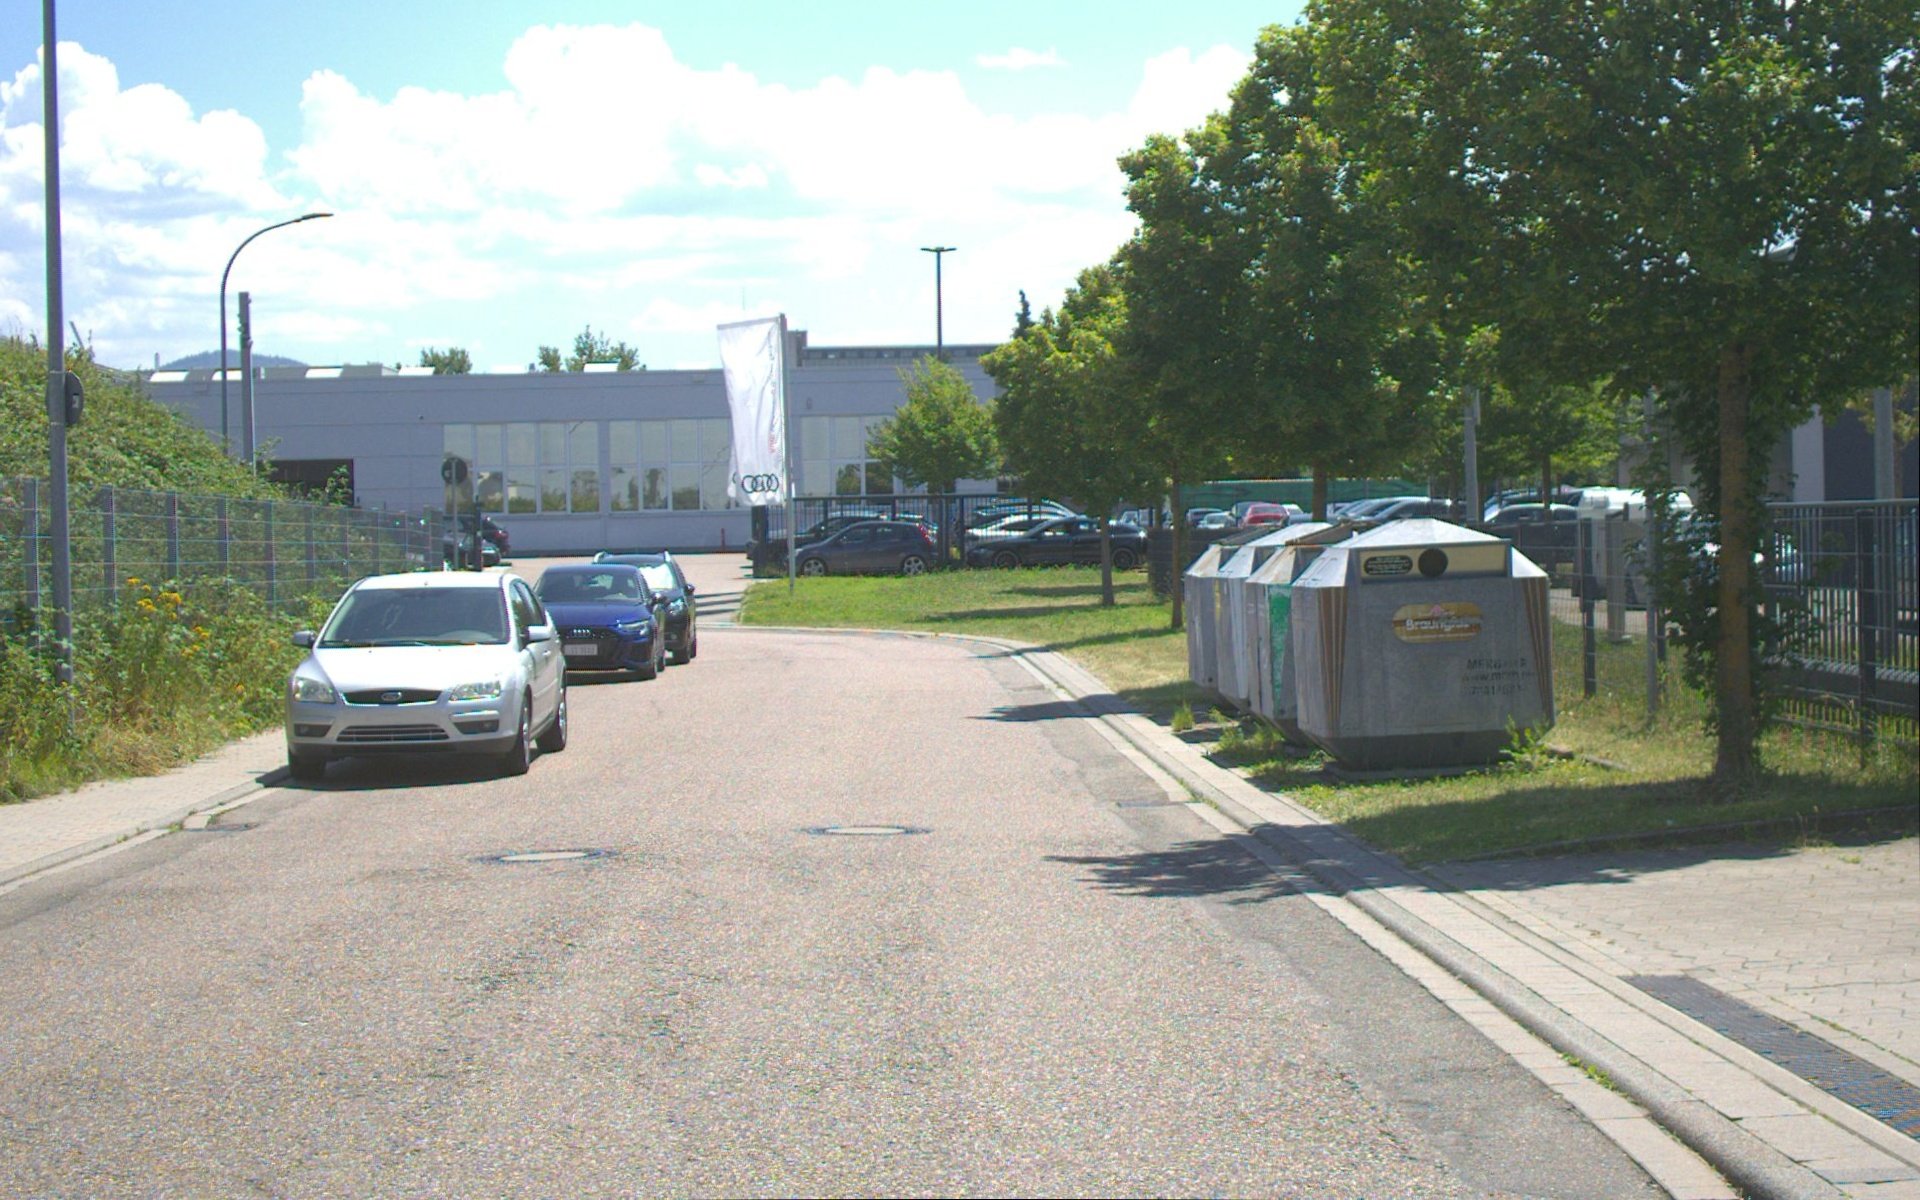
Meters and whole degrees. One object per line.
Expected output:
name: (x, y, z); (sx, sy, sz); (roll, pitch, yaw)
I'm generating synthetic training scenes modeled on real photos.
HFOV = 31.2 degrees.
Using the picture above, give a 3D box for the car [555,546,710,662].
car: (-4.631, 0.033, 49.140); (1.833, 1.541, 4.265); (-1, 1, -1)

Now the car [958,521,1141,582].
car: (2.219, -1.206, 86.239); (4.437, 1.393, 2.000); (-1, -1, -3)

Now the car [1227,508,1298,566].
car: (10.397, -2.154, 118.426); (1.993, 1.821, 4.000); (-1, -1, -1)

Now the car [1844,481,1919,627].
car: (11.153, -0.508, 37.212); (1.789, 1.525, 4.423); (-1, 3, -3)

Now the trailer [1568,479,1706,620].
trailer: (10.494, -0.819, 53.452); (1.493, 2.000, 3.264); (-1, 3, 1)

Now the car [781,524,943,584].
car: (-2.476, -1.146, 86.295); (3.986, 1.393, 2.000); (-1, -1, -3)

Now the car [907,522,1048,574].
car: (0.488, -1.509, 99.974); (3.986, 1.393, 2.000); (-1, -1, -3)

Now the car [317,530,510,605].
car: (-14.688, -0.889, 92.619); (4.883, 1.916, 2.000); (-1, 1, -1)

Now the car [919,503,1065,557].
car: (0.878, -1.964, 96.698); (3.986, 1.393, 2.000); (-1, -1, -3)

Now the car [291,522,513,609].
car: (-14.161, -0.885, 87.439); (5.317, 2.090, 2.000); (-1, 1, -1)

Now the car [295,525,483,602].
car: (-14.926, -0.962, 89.999); (4.586, 1.916, 2.000); (-1, 1, -1)

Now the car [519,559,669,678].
car: (-4.638, 0.204, 43.981); (1.656, 1.412, 4.146); (-1, 1, -3)

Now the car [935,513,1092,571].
car: (1.394, -1.527, 90.784); (3.986, 1.393, 2.000); (-1, -1, -3)

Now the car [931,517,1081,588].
car: (1.239, -1.301, 94.154); (3.986, 1.821, 2.000); (-1, -1, -3)

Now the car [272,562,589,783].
car: (-4.029, 0.495, 26.839); (1.833, 1.541, 4.367); (-1, 1, -1)
